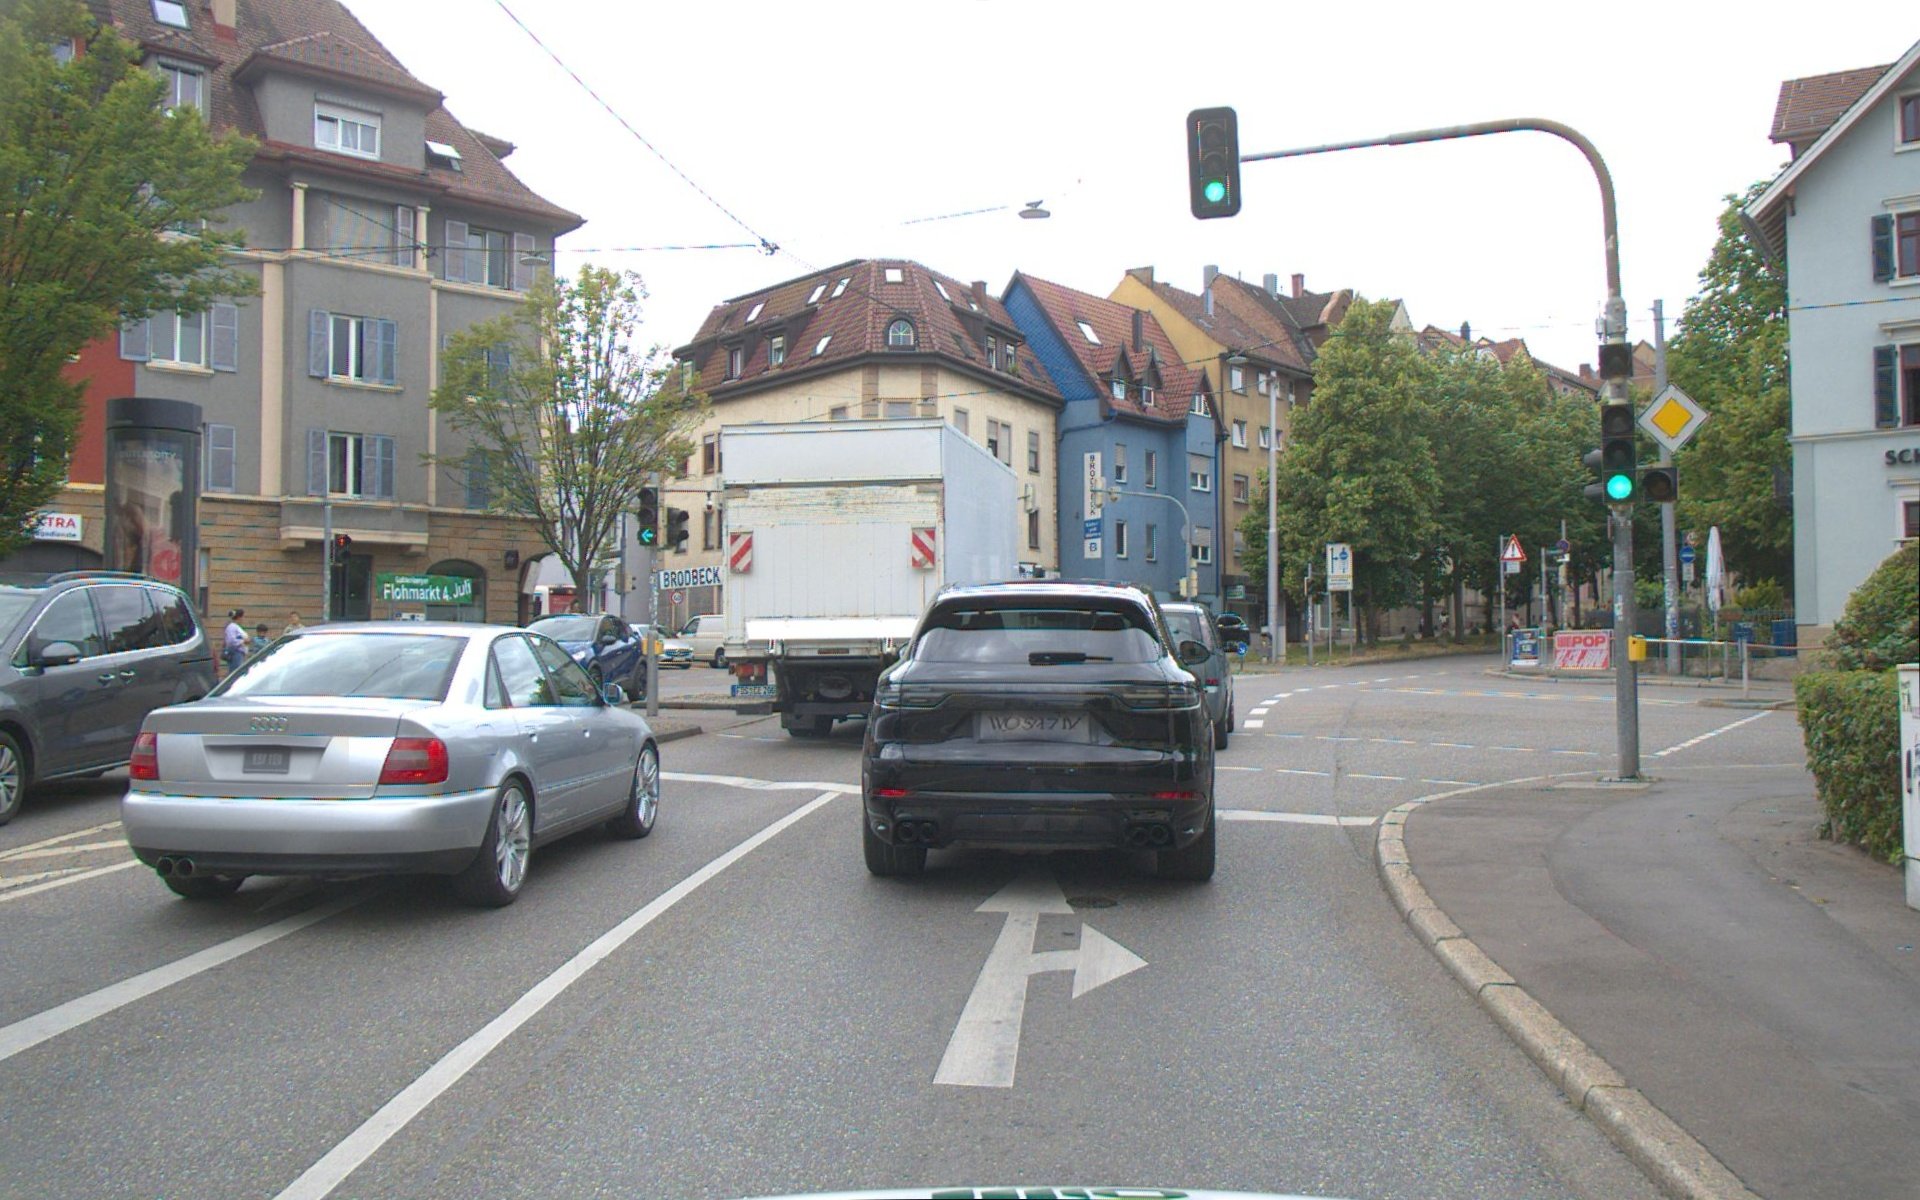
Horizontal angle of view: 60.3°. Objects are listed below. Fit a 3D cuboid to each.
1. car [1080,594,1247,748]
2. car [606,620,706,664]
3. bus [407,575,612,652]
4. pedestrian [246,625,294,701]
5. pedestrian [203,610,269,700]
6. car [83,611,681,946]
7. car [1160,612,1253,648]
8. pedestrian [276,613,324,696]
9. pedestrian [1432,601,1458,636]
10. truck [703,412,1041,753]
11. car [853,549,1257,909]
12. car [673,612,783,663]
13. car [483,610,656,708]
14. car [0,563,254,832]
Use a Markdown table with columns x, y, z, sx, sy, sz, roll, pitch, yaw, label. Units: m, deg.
| x | y | z | sx | sy | sz | roll | pitch | yaw | label |
| --- | --- | --- | --- | --- | --- | --- | --- | --- | --- |
| 2.450 | 0.779 | 19.213 | 1.613 | 1.583 | 3.585 | 1 | -1 | 12 | car |
| -10.886 | 1.527 | 59.103 | 1.863 | 1.495 | 3.917 | 2 | -3 | -40 | car |
| -20.034 | 0.609 | 72.835 | 11.946 | 3.150 | 3.145 | -1 | -1 | 45 | bus |
| -12.494 | 1.128 | 29.969 | 0.562 | 1.361 | 0.584 | -1 | -1 | 19 | pedestrian |
| -12.800 | 0.957 | 29.252 | 0.776 | 1.573 | 0.738 | 0 | -1 | 19 | pedestrian |
| -2.846 | 0.777 | 9.180 | 1.594 | 1.389 | 4.130 | 1 | 0 | 4 | car |
| 10.559 | 1.310 | 70.647 | 1.840 | 1.441 | 4.675 | -2 | -3 | 38 | car |
| -12.199 | 0.999 | 30.576 | 0.511 | 1.513 | 0.654 | 0 | -1 | 19 | pedestrian |
| 28.567 | 1.095 | 97.428 | 1.172 | 2.049 | 0.985 | -1 | -1 | 37 | pedestrian |
| -0.761 | -0.163 | 21.908 | 2.667 | 3.606 | 8.428 | 1 | 0 | 9 | truck |
| 0.662 | 0.639 | 10.522 | 1.989 | 1.753 | 4.502 | 1 | 0 | 5 | car |
| -8.689 | 1.380 | 61.747 | 2.048 | 1.831 | 4.267 | 0 | -1 | -43 | car |
| -6.565 | 0.951 | 28.219 | 1.749 | 1.558 | 4.038 | 0 | -1 | 4 | car |
| -7.163 | 0.639 | 12.243 | 1.865 | 1.744 | 4.718 | 0 | -1 | -1 | car |
